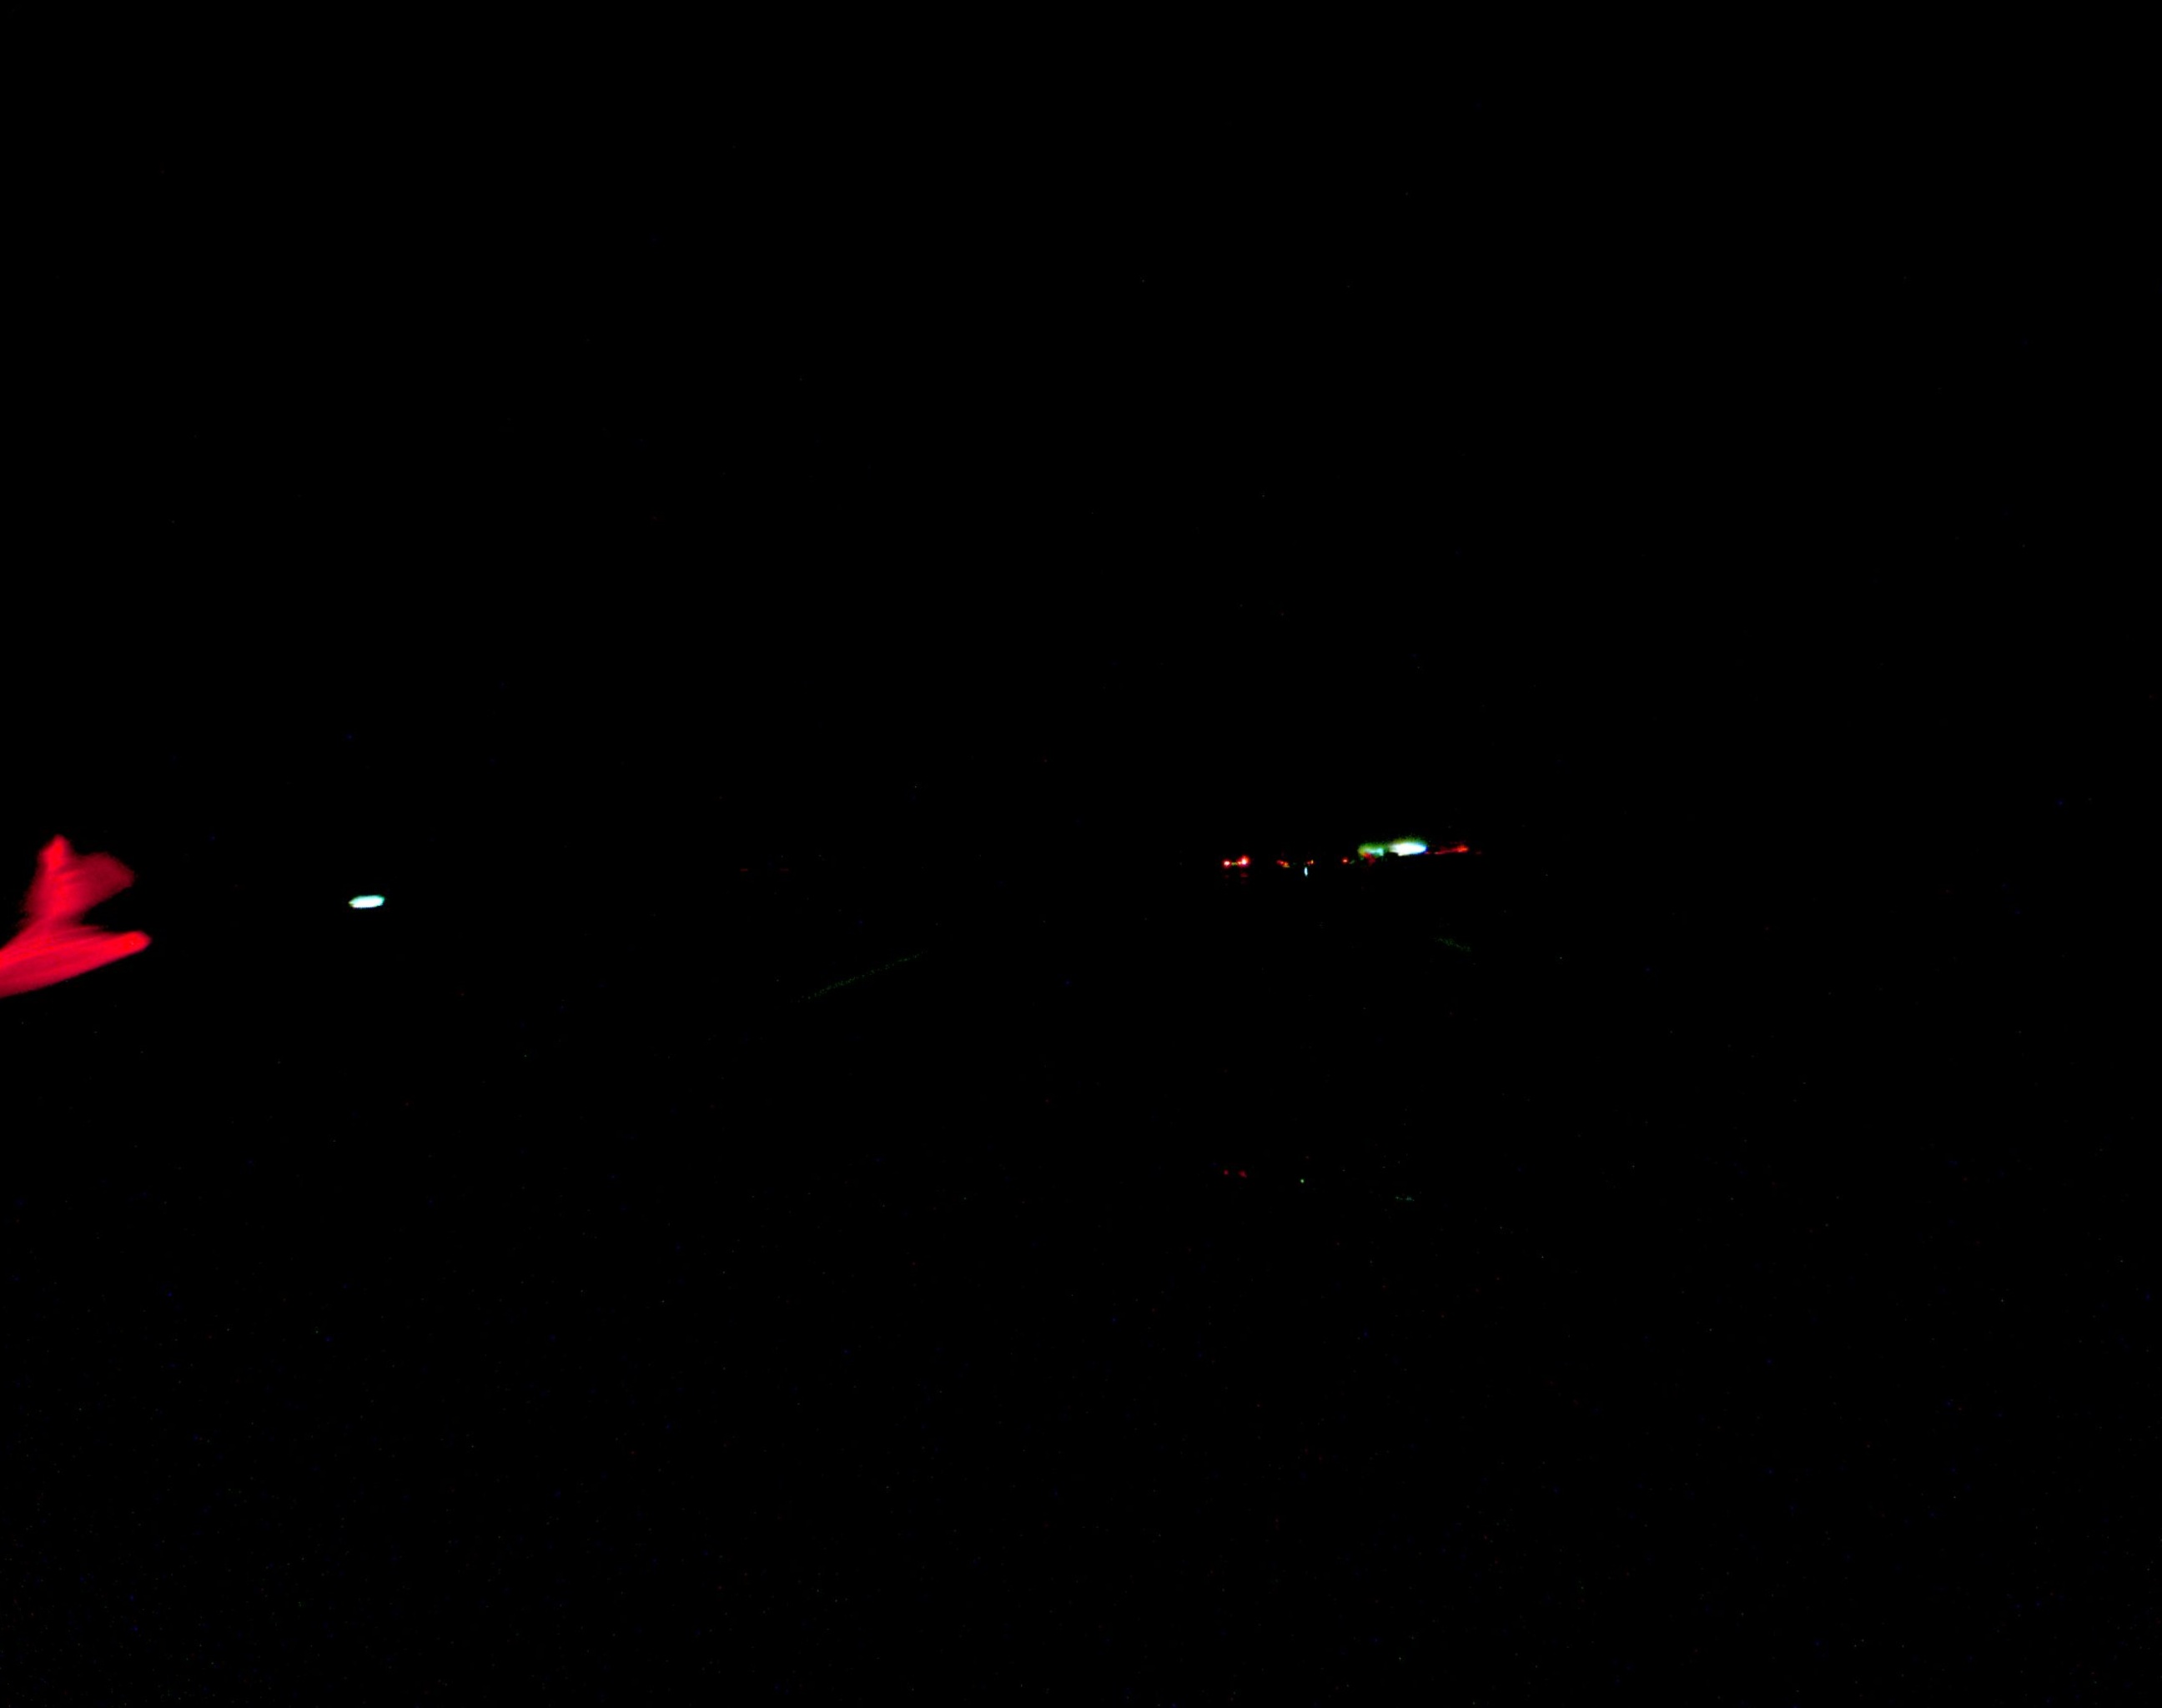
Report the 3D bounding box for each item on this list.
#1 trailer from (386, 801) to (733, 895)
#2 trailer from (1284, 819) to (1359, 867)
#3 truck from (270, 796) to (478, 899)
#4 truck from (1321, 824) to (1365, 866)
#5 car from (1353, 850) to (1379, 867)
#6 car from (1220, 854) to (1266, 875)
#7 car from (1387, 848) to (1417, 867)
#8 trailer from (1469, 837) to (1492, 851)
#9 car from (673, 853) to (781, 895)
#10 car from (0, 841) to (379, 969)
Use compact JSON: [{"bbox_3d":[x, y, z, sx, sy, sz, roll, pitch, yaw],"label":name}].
[{"bbox_3d":[-23.827,-0.237,38.884,2.627,3.730,14.031,1,1,34],"label":"trailer"},{"bbox_3d":[21.030,-0.865,70.376,2.567,3.725,13.738,1,1,32],"label":"trailer"},{"bbox_3d":[-28.041,-0.252,32.549,2.627,3.730,5.740,1,0,34],"label":"truck"},{"bbox_3d":[24.497,-0.817,75.964,2.563,3.711,5.492,1,0,32],"label":"truck"},{"bbox_3d":[35.131,0.507,100.341,1.974,2.013,4.025,1,0,34],"label":"car"},{"bbox_3d":[12.778,0.799,64.134,1.974,1.618,4.025,1,1,36],"label":"car"},{"bbox_3d":[31.683,0.367,80.283,1.974,1.818,4.025,1,1,33],"label":"car"},{"bbox_3d":[85.944,-2.134,175.016,2.661,2.699,12.939,1,1,33],"label":"trailer"},{"bbox_3d":[-15.897,0.849,36.732,1.974,1.771,4.025,1,1,34],"label":"car"},{"bbox_3d":[-16.551,0.810,15.377,1.974,2.013,4.597,1,1,34],"label":"car"}]
